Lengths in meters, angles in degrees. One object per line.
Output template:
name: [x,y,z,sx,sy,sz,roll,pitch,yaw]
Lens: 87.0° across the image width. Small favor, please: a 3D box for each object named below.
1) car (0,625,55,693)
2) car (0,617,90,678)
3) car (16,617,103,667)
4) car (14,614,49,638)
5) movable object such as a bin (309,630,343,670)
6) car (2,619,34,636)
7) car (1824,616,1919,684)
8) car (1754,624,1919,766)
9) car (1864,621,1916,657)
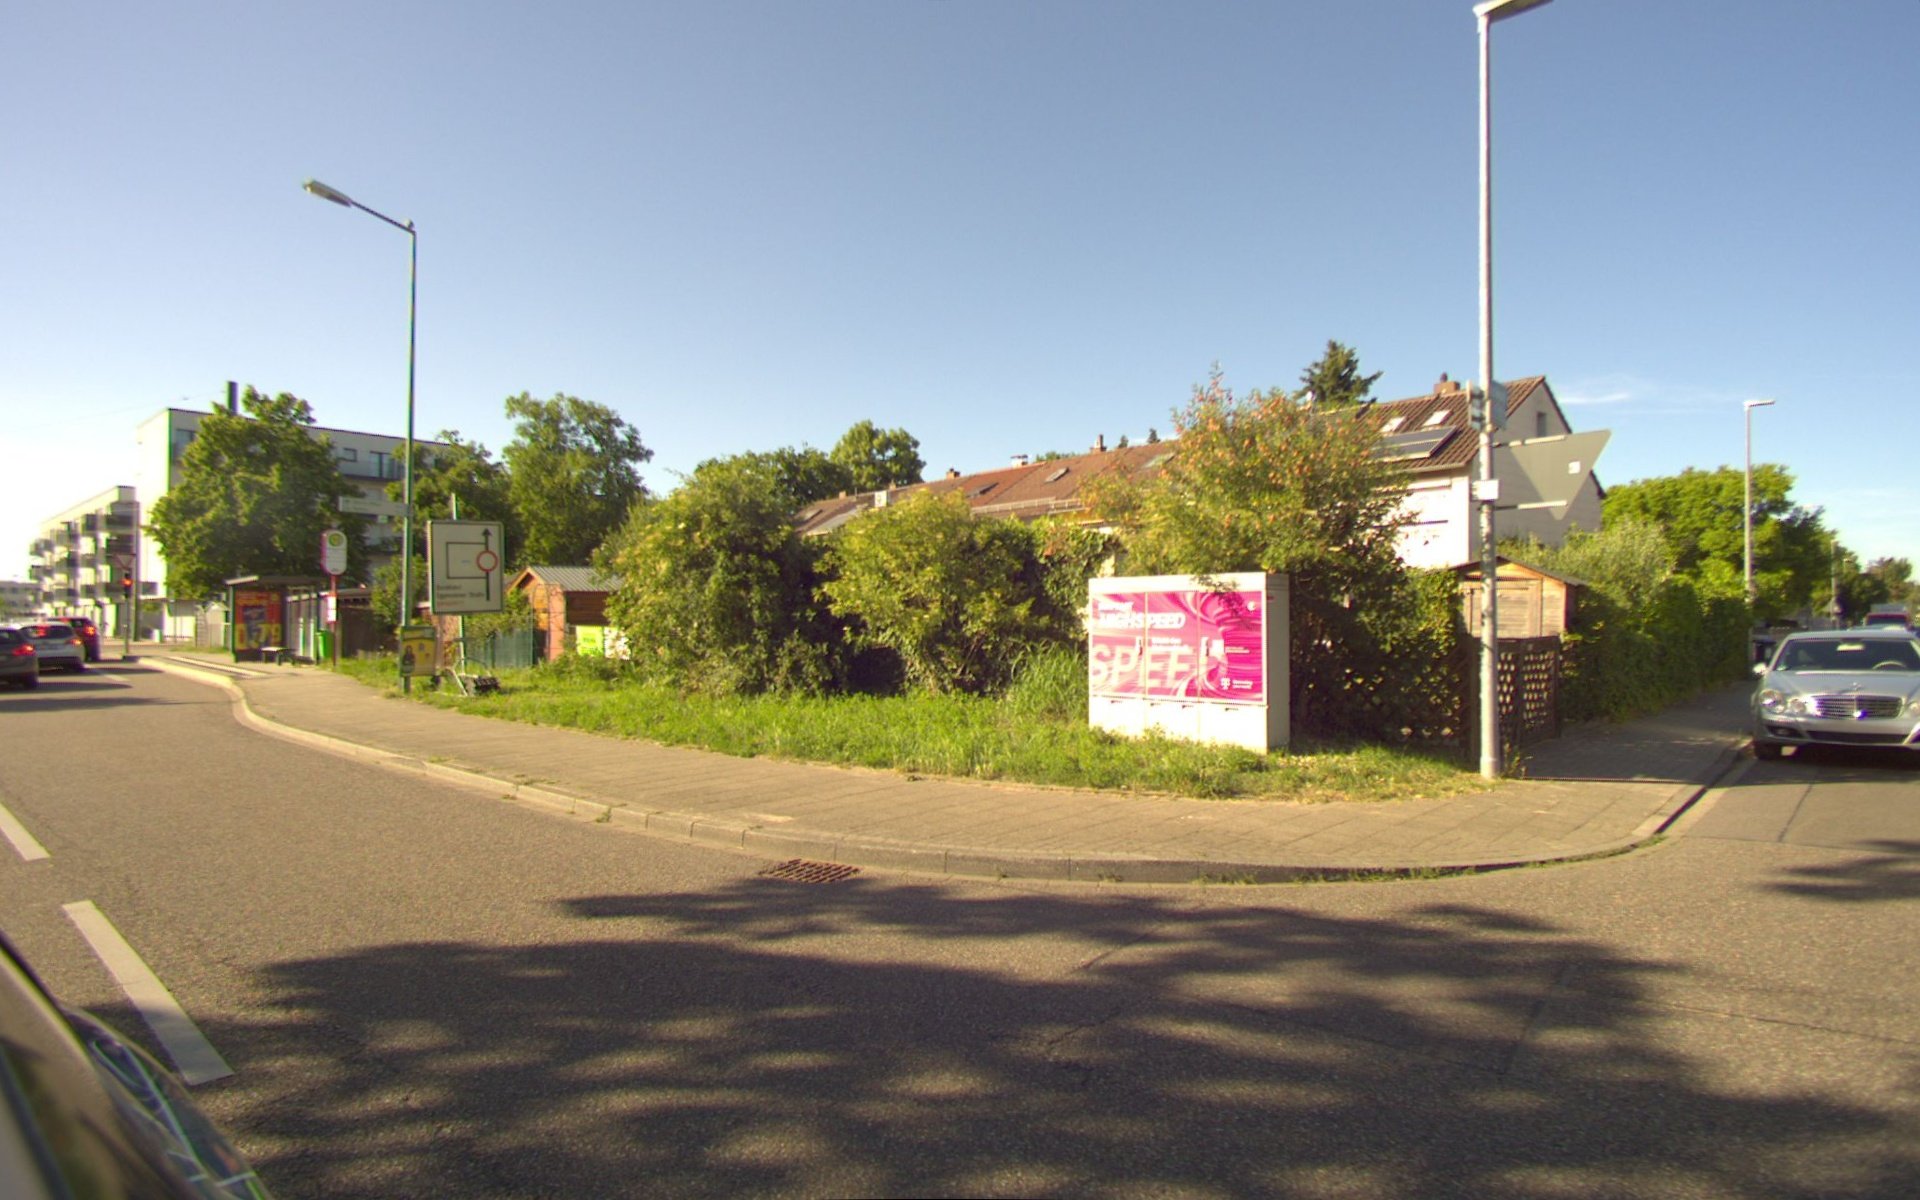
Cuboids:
car: [-22.538,1.330,23.284,4.447,1.454,1.973,-1,0,40]
car: [-26.416,1.287,28.841,2.184,1.603,4.538,0,-1,-44]
car: [-30.844,1.400,34.639,4.182,1.601,1.918,-1,-1,44]
car: [-83.005,2.316,90.467,4.001,2.029,1.971,1,0,43]
movable object such as a bin: [-16.306,1.286,26.028,0.558,0.975,0.586,-2,2,44]
car: [-94.594,2.784,101.609,3.999,1.565,1.972,1,0,42]
car: [22.139,1.145,24.266,1.998,1.497,3.948,-1,-2,38]
car: [10.692,0.988,11.817,1.923,1.396,4.301,-2,-2,42]
car: [50.856,2.122,55.352,2.000,1.827,4.164,1,0,43]
